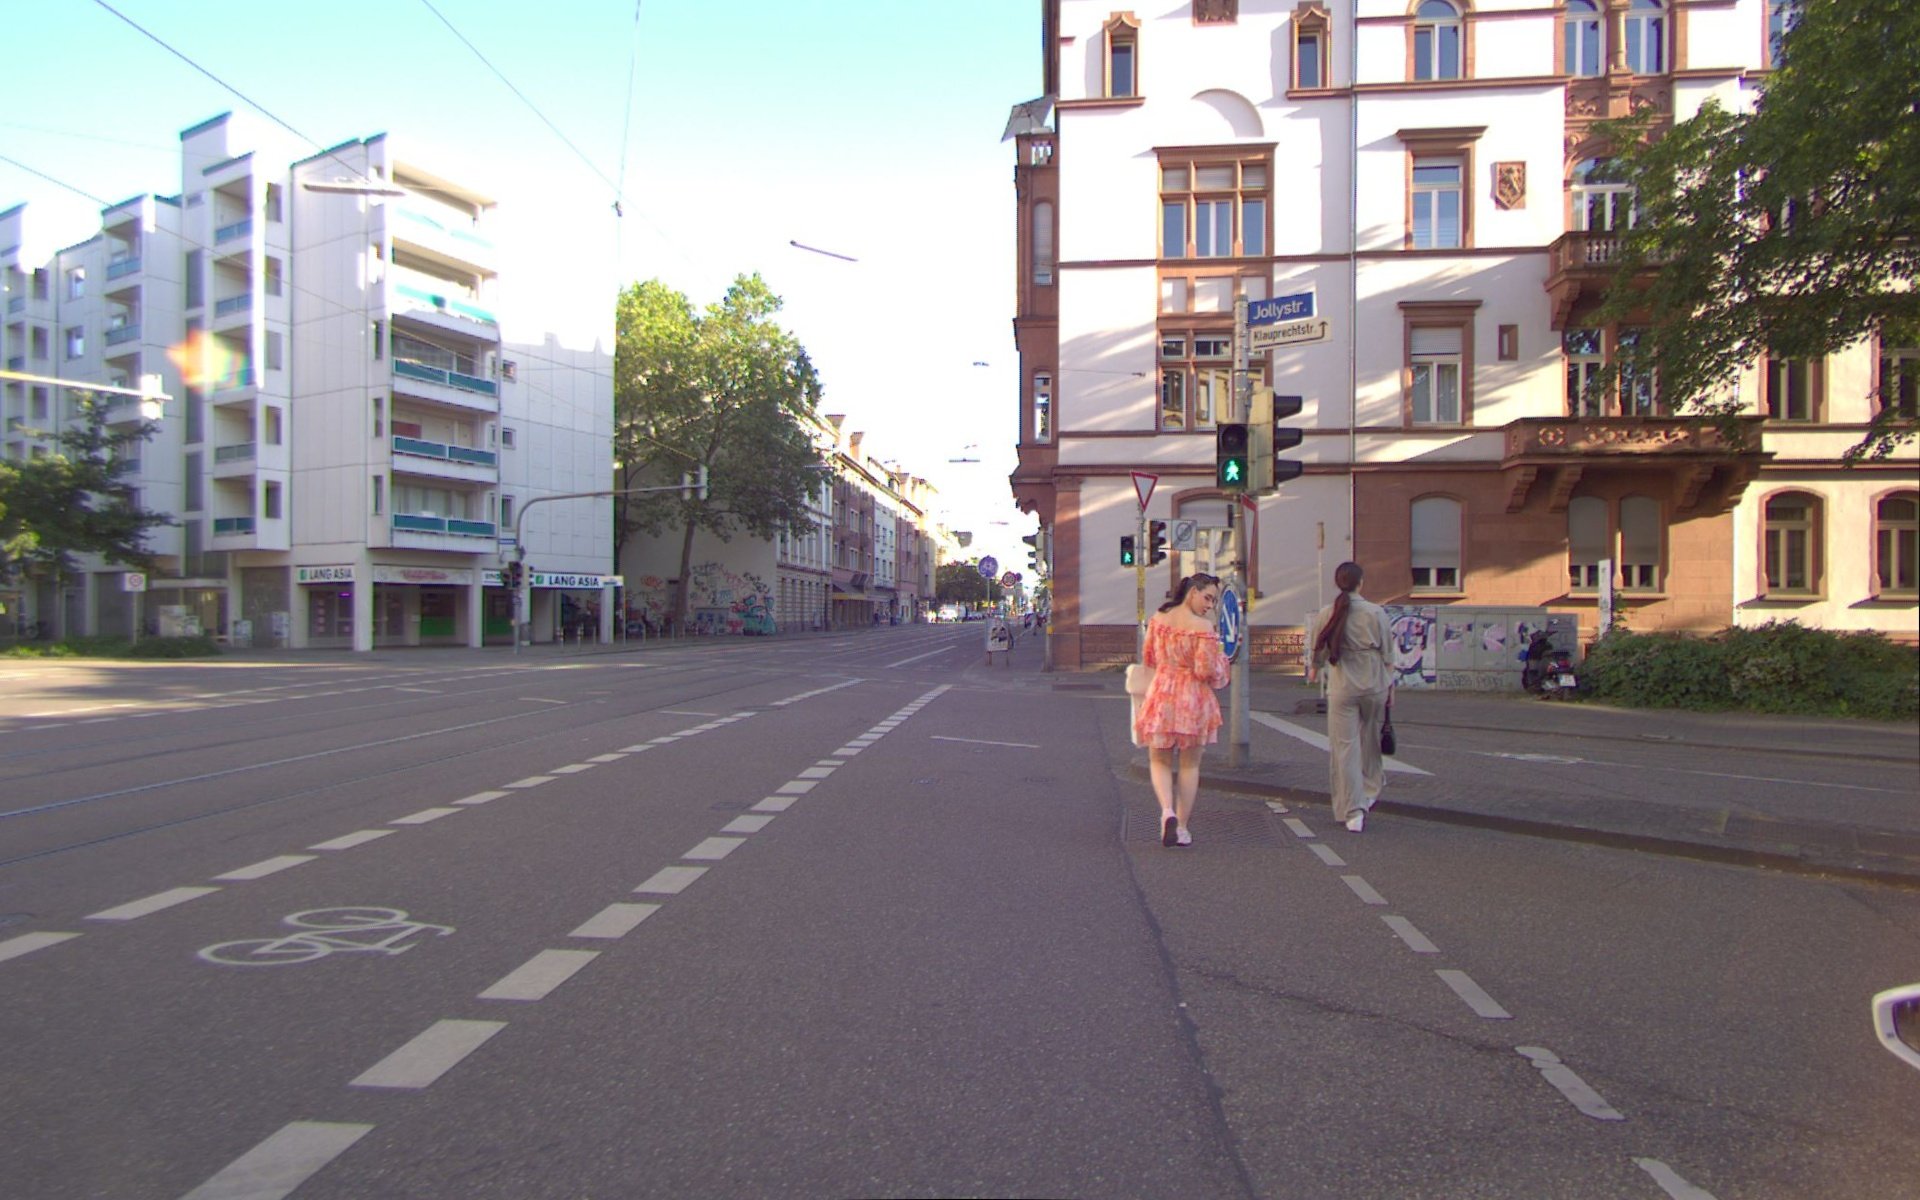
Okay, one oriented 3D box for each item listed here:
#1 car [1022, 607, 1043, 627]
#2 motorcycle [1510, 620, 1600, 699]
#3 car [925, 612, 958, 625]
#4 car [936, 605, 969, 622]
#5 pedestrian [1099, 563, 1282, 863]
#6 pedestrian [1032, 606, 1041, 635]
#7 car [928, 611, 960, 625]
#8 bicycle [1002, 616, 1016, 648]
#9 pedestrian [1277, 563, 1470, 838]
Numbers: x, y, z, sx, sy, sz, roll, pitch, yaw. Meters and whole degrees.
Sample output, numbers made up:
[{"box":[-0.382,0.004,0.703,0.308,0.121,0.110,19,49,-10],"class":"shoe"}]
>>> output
[{"box":[7.826,1.843,107.861,1.959,2.040,4.003,0,-1,9],"class":"car"},{"box":[10.336,0.996,17.532,0.826,1.282,2.111,0,-1,16],"class":"motorcycle"},{"box":[-2.824,2.768,151.117,4.660,2.040,2.292,0,-1,7],"class":"car"},{"box":[-1.128,2.109,159.647,4.685,2.720,2.514,1,-1,-21],"class":"car"},{"box":[1.402,0.655,6.285,0.853,1.720,0.983,0,0,-5],"class":"pedestrian"},{"box":[4.924,1.309,64.647,0.483,1.835,0.628,0,0,10],"class":"pedestrian"},{"box":[-2.443,2.787,153.671,4.660,2.040,2.528,0,-1,7],"class":"car"},{"box":[1.906,1.222,39.085,0.509,1.230,2.009,0,-1,4],"class":"bicycle"},{"box":[2.756,0.636,6.800,0.853,1.720,0.983,0,0,-5],"class":"pedestrian"}]
